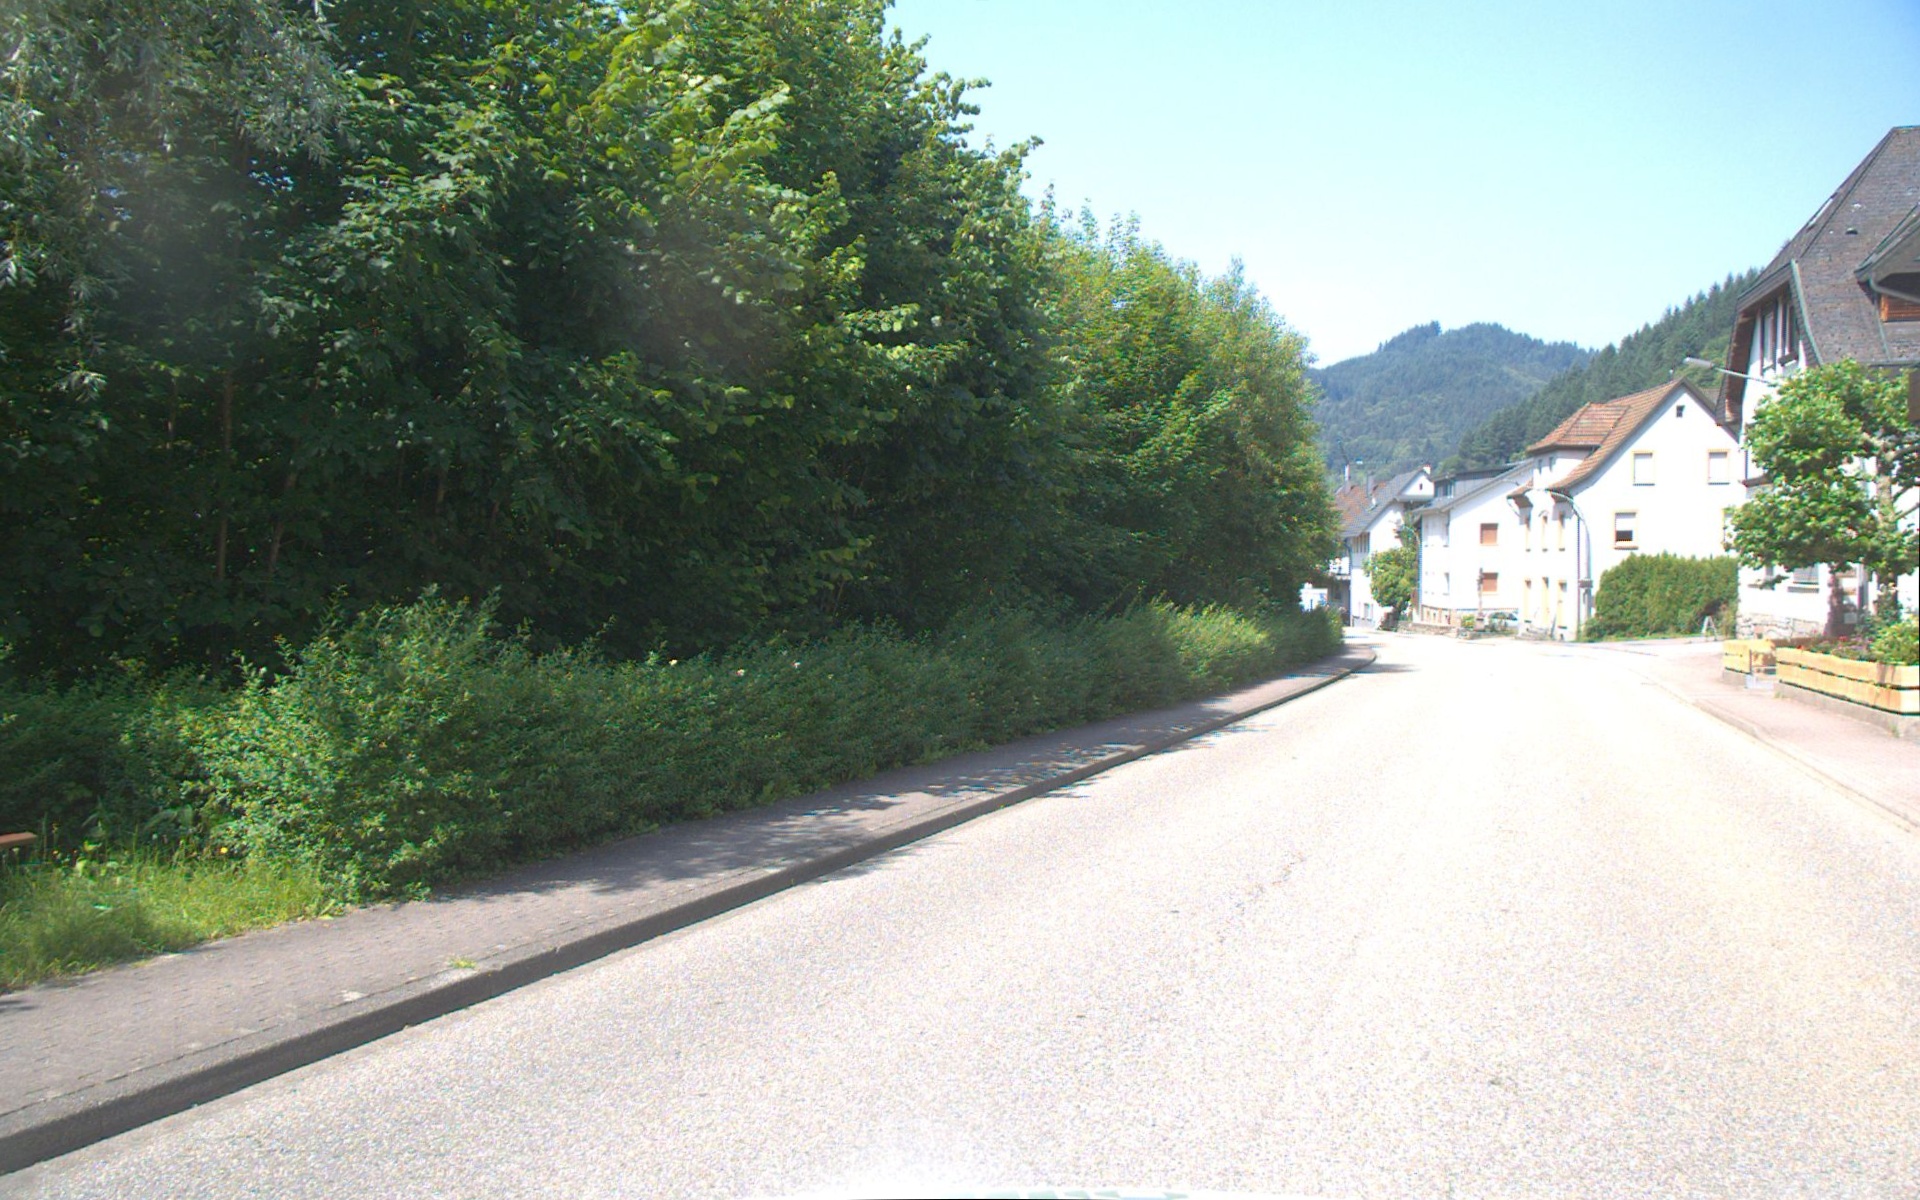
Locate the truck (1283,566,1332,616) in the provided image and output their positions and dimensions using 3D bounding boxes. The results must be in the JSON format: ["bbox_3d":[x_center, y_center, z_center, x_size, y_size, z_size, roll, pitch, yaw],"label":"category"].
[{"bbox_3d":[30.653,-0.744,146.205,3.292,3.848,8.445,-4,-2,7],"label":"truck"}]
